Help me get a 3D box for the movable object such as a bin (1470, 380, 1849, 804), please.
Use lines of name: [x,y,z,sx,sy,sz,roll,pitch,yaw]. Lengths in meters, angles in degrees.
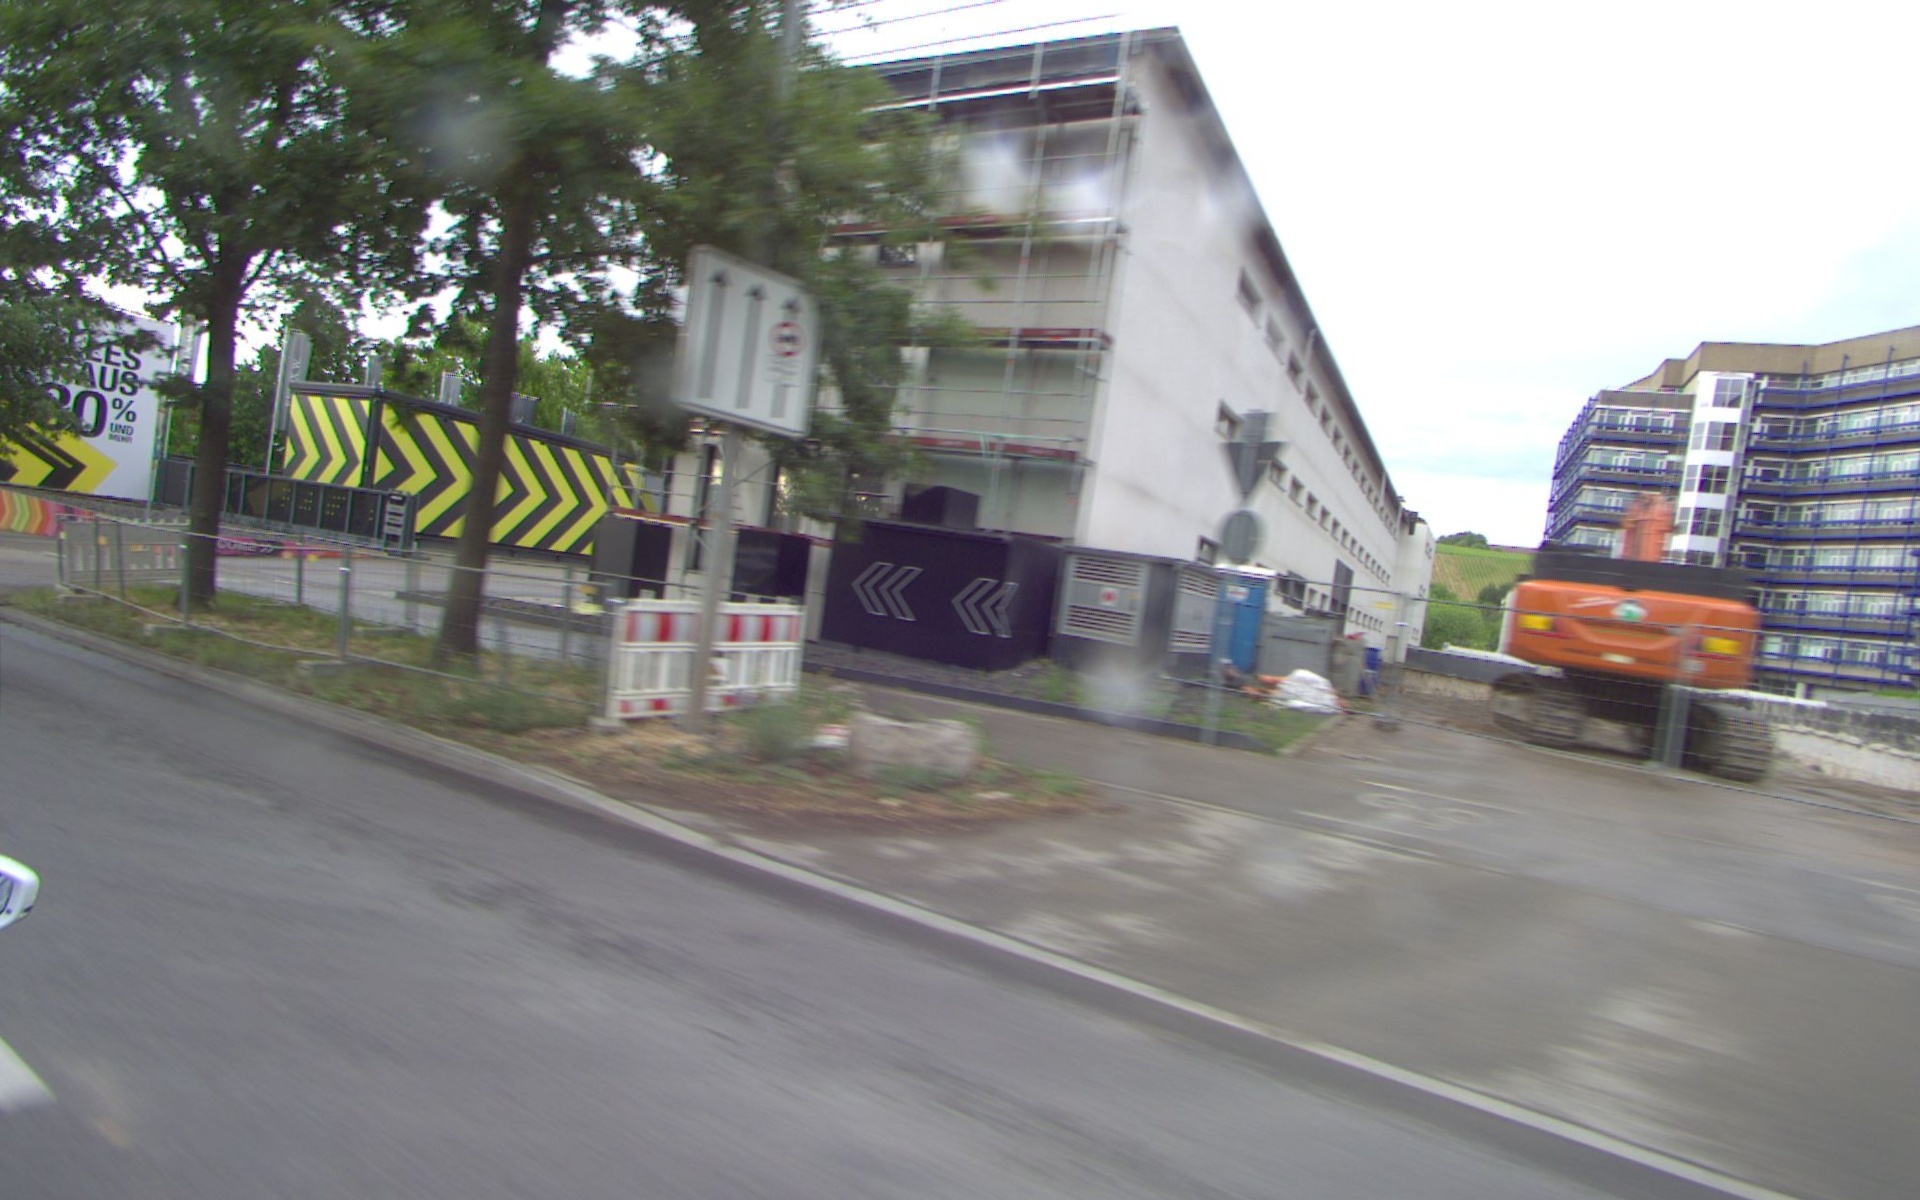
movable object such as a bin: [12.108,0.099,18.826,3.725,5.326,12.160,6,0,29]
